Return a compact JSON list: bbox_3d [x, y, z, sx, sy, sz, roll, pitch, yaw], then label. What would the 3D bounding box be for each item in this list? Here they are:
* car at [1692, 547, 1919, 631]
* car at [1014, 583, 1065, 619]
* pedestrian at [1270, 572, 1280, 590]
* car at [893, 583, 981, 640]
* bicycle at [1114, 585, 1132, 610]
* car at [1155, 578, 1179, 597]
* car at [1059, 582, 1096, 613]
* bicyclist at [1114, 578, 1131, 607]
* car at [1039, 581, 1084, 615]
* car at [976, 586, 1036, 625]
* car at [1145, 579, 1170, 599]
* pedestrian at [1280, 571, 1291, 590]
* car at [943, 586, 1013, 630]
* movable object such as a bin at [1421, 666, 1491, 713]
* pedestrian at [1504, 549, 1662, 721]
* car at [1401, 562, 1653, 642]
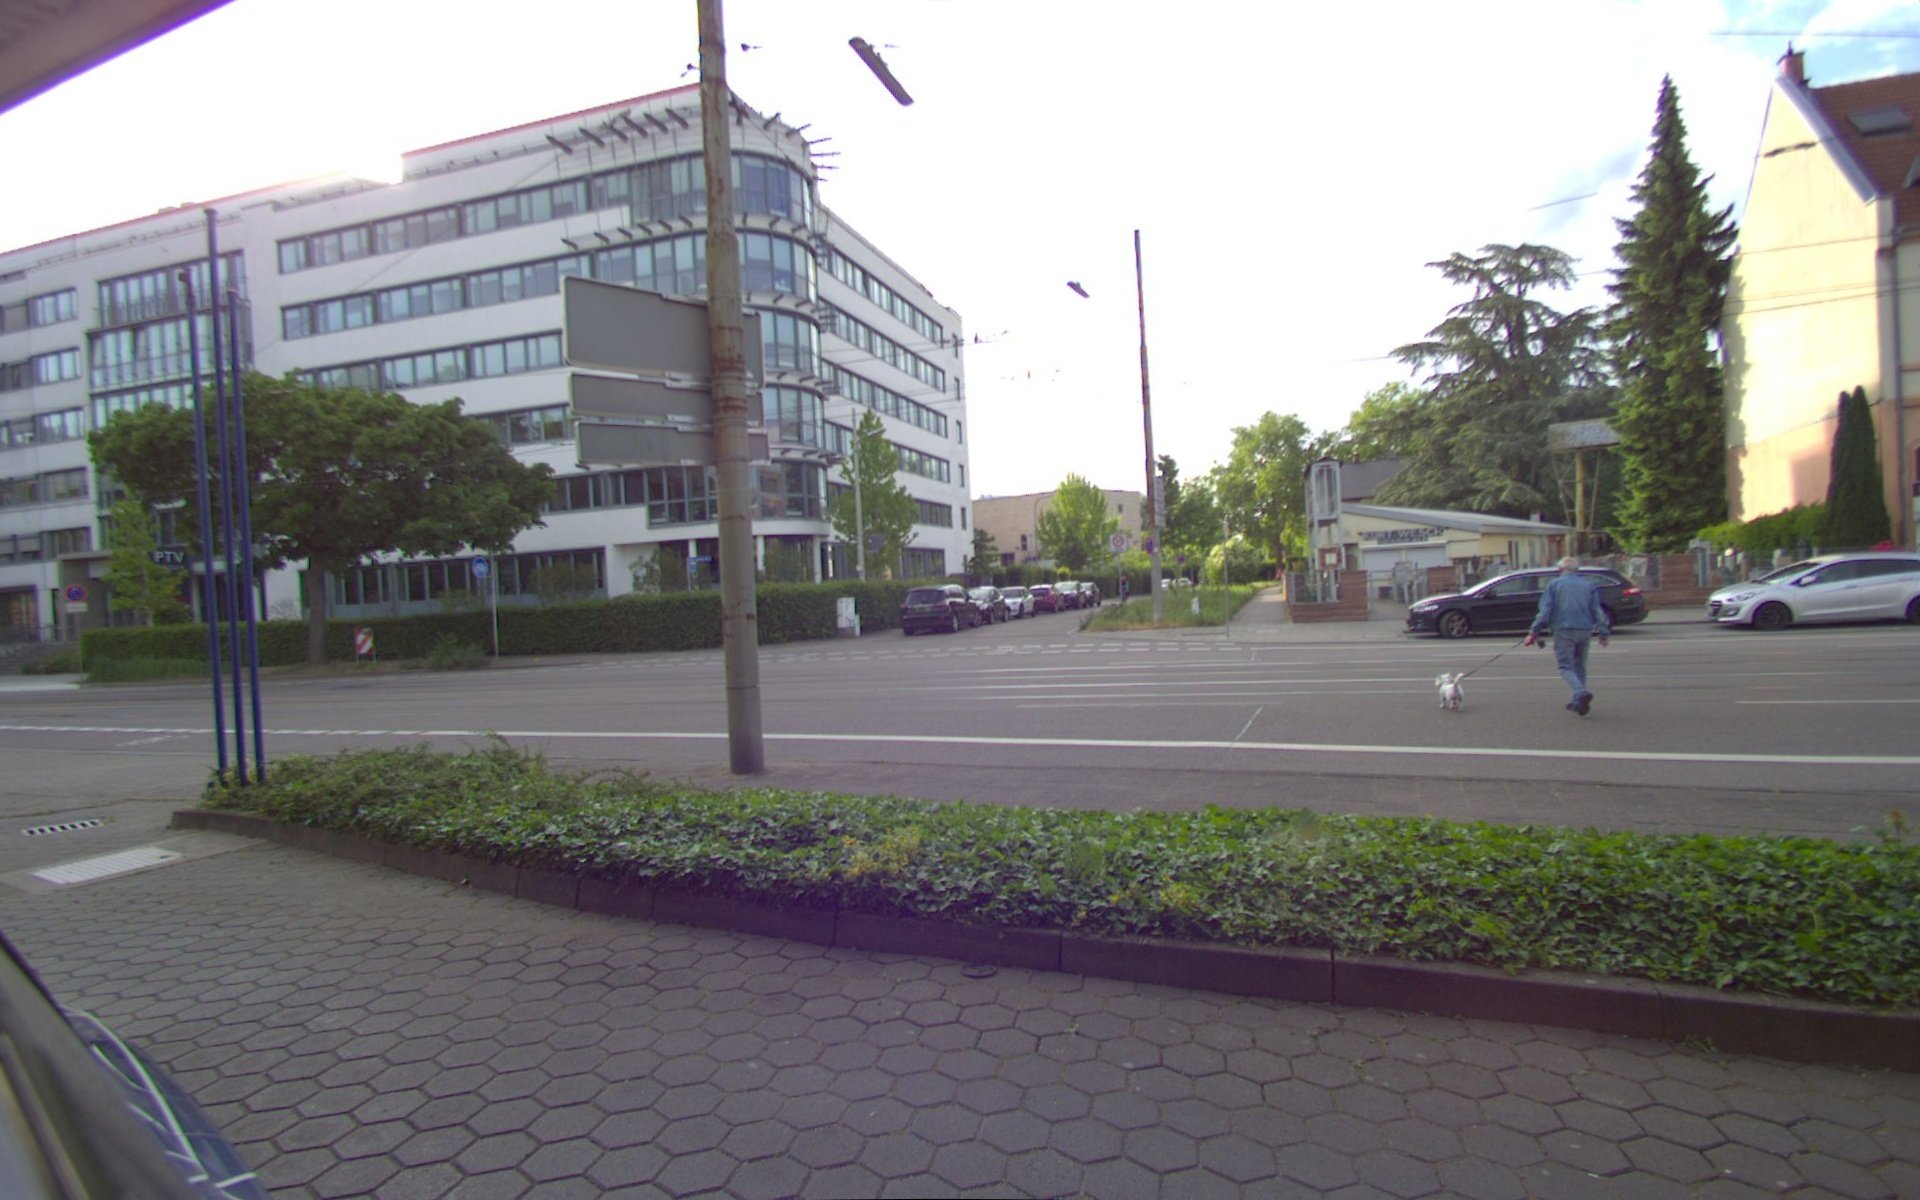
[{"bbox_3d":[18.424,-0.251,21.376,4.424,1.494,1.713,-3,1,21],"label":"car"},{"bbox_3d":[4.176,0.019,52.486,1.929,1.650,4.274,-3,0,13],"label":"car"},{"bbox_3d":[32.278,-1.930,103.726,0.899,1.865,0.942,-3,-1,21],"label":"pedestrian"},{"bbox_3d":[-0.724,0.357,35.409,1.994,1.704,4.274,-3,1,13],"label":"car"},{"bbox_3d":[9.679,-0.172,60.044,0.858,1.320,1.911,-3,3,14],"label":"bicycle"},{"bbox_3d":[21.690,-1.341,106.156,1.849,1.748,4.246,-3,1,19],"label":"car"},{"bbox_3d":[7.290,-0.165,62.489,1.731,1.748,4.030,-3,0,13],"label":"car"},{"bbox_3d":[9.637,-0.436,59.949,0.858,1.617,1.024,-3,3,15],"label":"bicyclist"},{"bbox_3d":[5.836,-0.155,57.715,1.929,1.748,4.512,-3,0,13],"label":"car"},{"bbox_3d":[2.143,0.210,45.780,1.929,1.530,4.274,-3,0,13],"label":"car"},{"bbox_3d":[19.698,-1.091,100.786,1.849,1.748,4.247,-3,1,19],"label":"car"},{"bbox_3d":[33.271,-1.996,103.500,0.899,1.865,0.942,-3,-1,21],"label":"pedestrian"},{"bbox_3d":[0.795,0.287,40.969,1.929,1.551,4.274,-3,0,13],"label":"car"},{"bbox_3d":[5.641,1.015,11.543,0.475,0.424,0.679,-4,2,5],"label":"movable object such as a bin"},{"bbox_3d":[6.588,0.342,10.765,0.990,1.680,0.971,-4,2,2],"label":"pedestrian"},{"bbox_3d":[12.913,0.049,23.437,4.742,1.511,2.001,-3,1,21],"label":"car"}]
